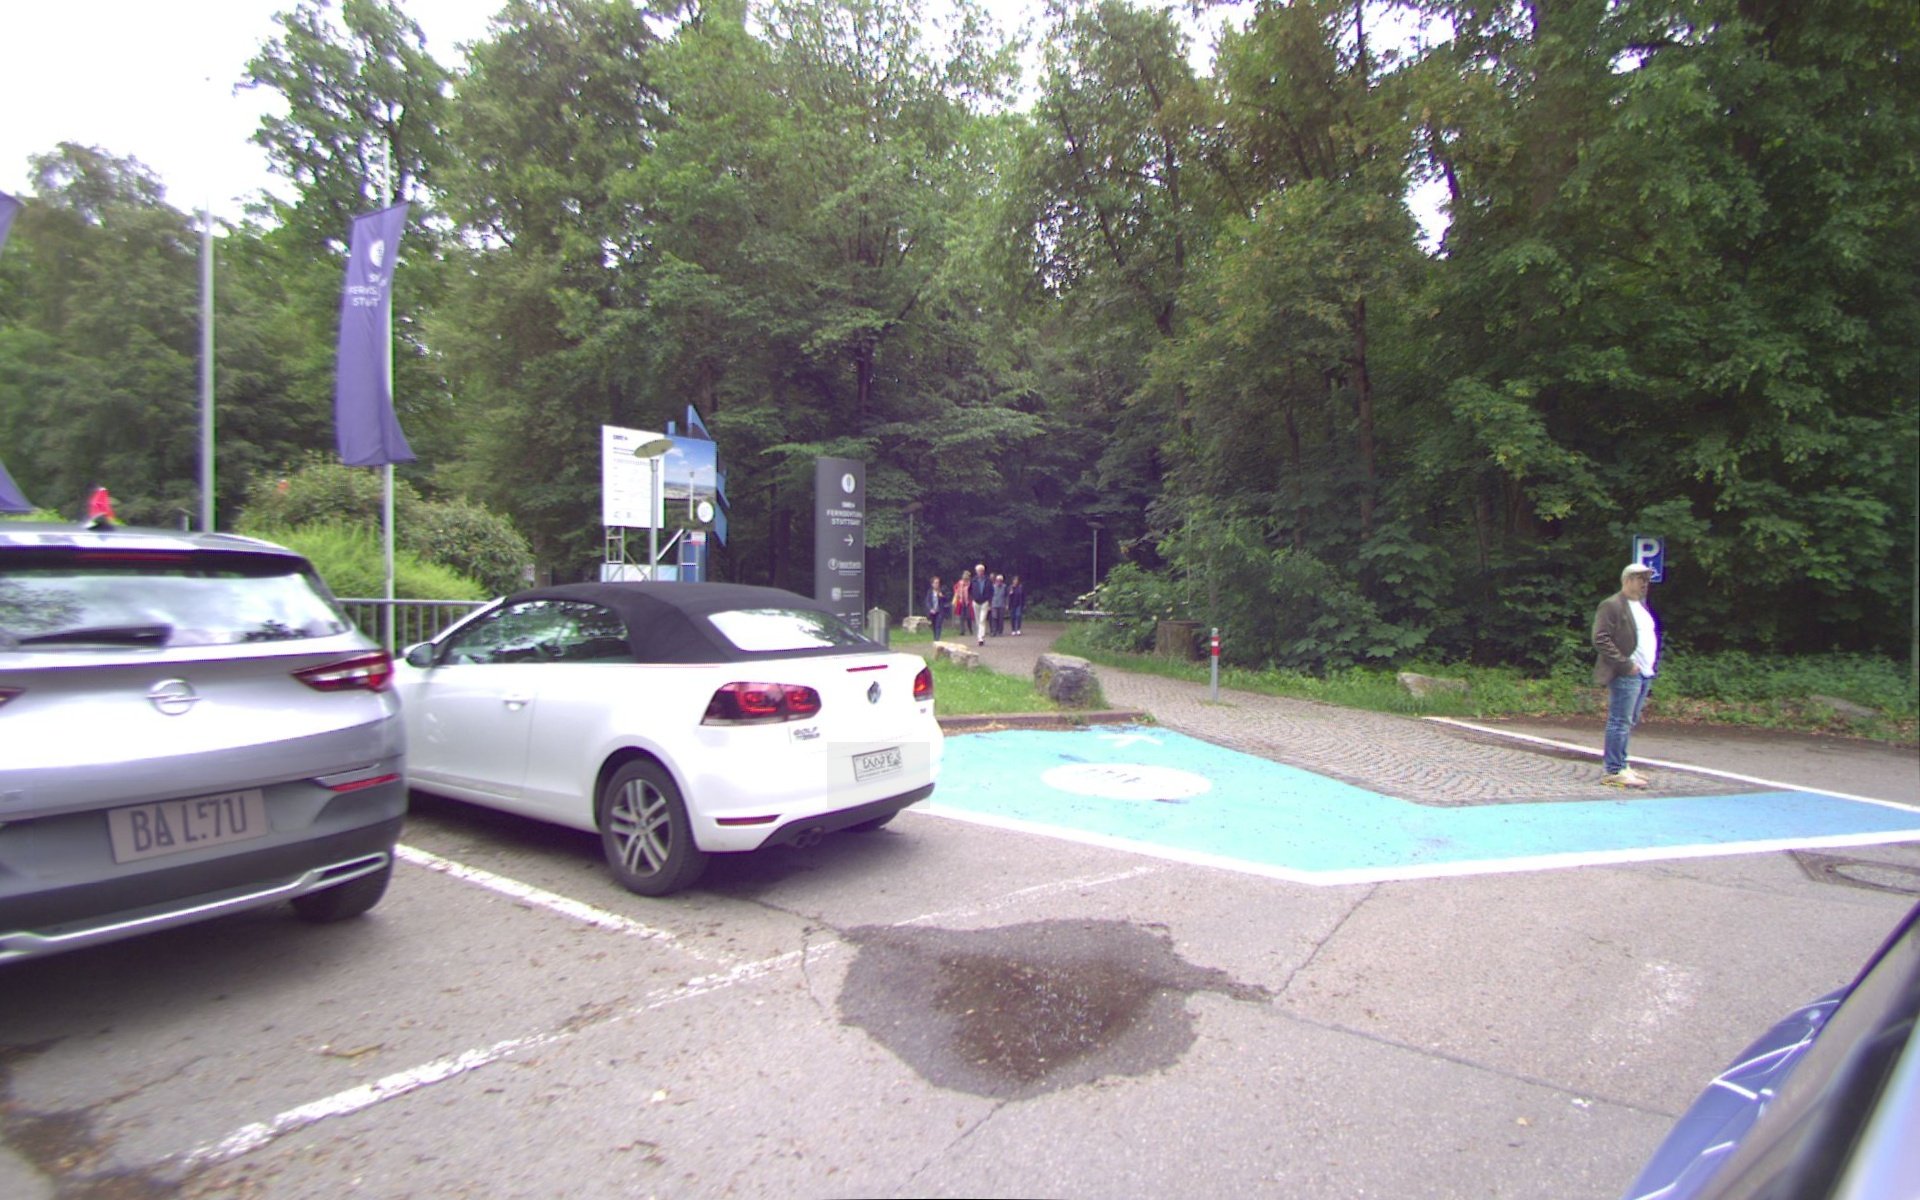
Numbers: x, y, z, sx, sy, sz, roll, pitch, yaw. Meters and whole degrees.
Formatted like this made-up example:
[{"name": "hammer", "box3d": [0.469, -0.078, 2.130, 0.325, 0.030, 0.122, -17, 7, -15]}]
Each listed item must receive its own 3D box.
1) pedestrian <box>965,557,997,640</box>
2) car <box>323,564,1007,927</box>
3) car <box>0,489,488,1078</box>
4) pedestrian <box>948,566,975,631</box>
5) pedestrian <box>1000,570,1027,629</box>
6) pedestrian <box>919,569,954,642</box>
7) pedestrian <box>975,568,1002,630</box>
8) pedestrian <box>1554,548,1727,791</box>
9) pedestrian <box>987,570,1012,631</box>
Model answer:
[{"name": "pedestrian", "box3d": [0.490, -0.045, 23.992, 0.720, 1.940, 0.668, 1, 1, 0]}, {"name": "car", "box3d": [-1.891, 0.540, 6.029, 3.975, 1.446, 1.875, 2, 1, 36]}, {"name": "car", "box3d": [-3.960, 0.445, 4.278, 3.975, 1.605, 1.875, 2, 1, 36]}, {"name": "pedestrian", "box3d": [0.047, -0.048, 28.418, 0.670, 1.784, 0.606, 1, 1, -6]}, {"name": "pedestrian", "box3d": [1.561, -0.015, 29.513, 0.668, 1.694, 0.663, 1, 1, -6]}, {"name": "pedestrian", "box3d": [-0.540, 0.110, 23.362, 0.764, 1.654, 0.637, 1, 1, 0]}, {"name": "pedestrian", "box3d": [0.837, -0.023, 29.686, 0.668, 1.790, 0.714, 1, 1, -6]}, {"name": "pedestrian", "box3d": [5.265, 0.487, 7.843, 0.750, 1.746, 0.896, 1, 1, -38]}, {"name": "pedestrian", "box3d": [1.109, 0.014, 28.487, 0.596, 1.694, 0.606, 1, 1, -6]}]
